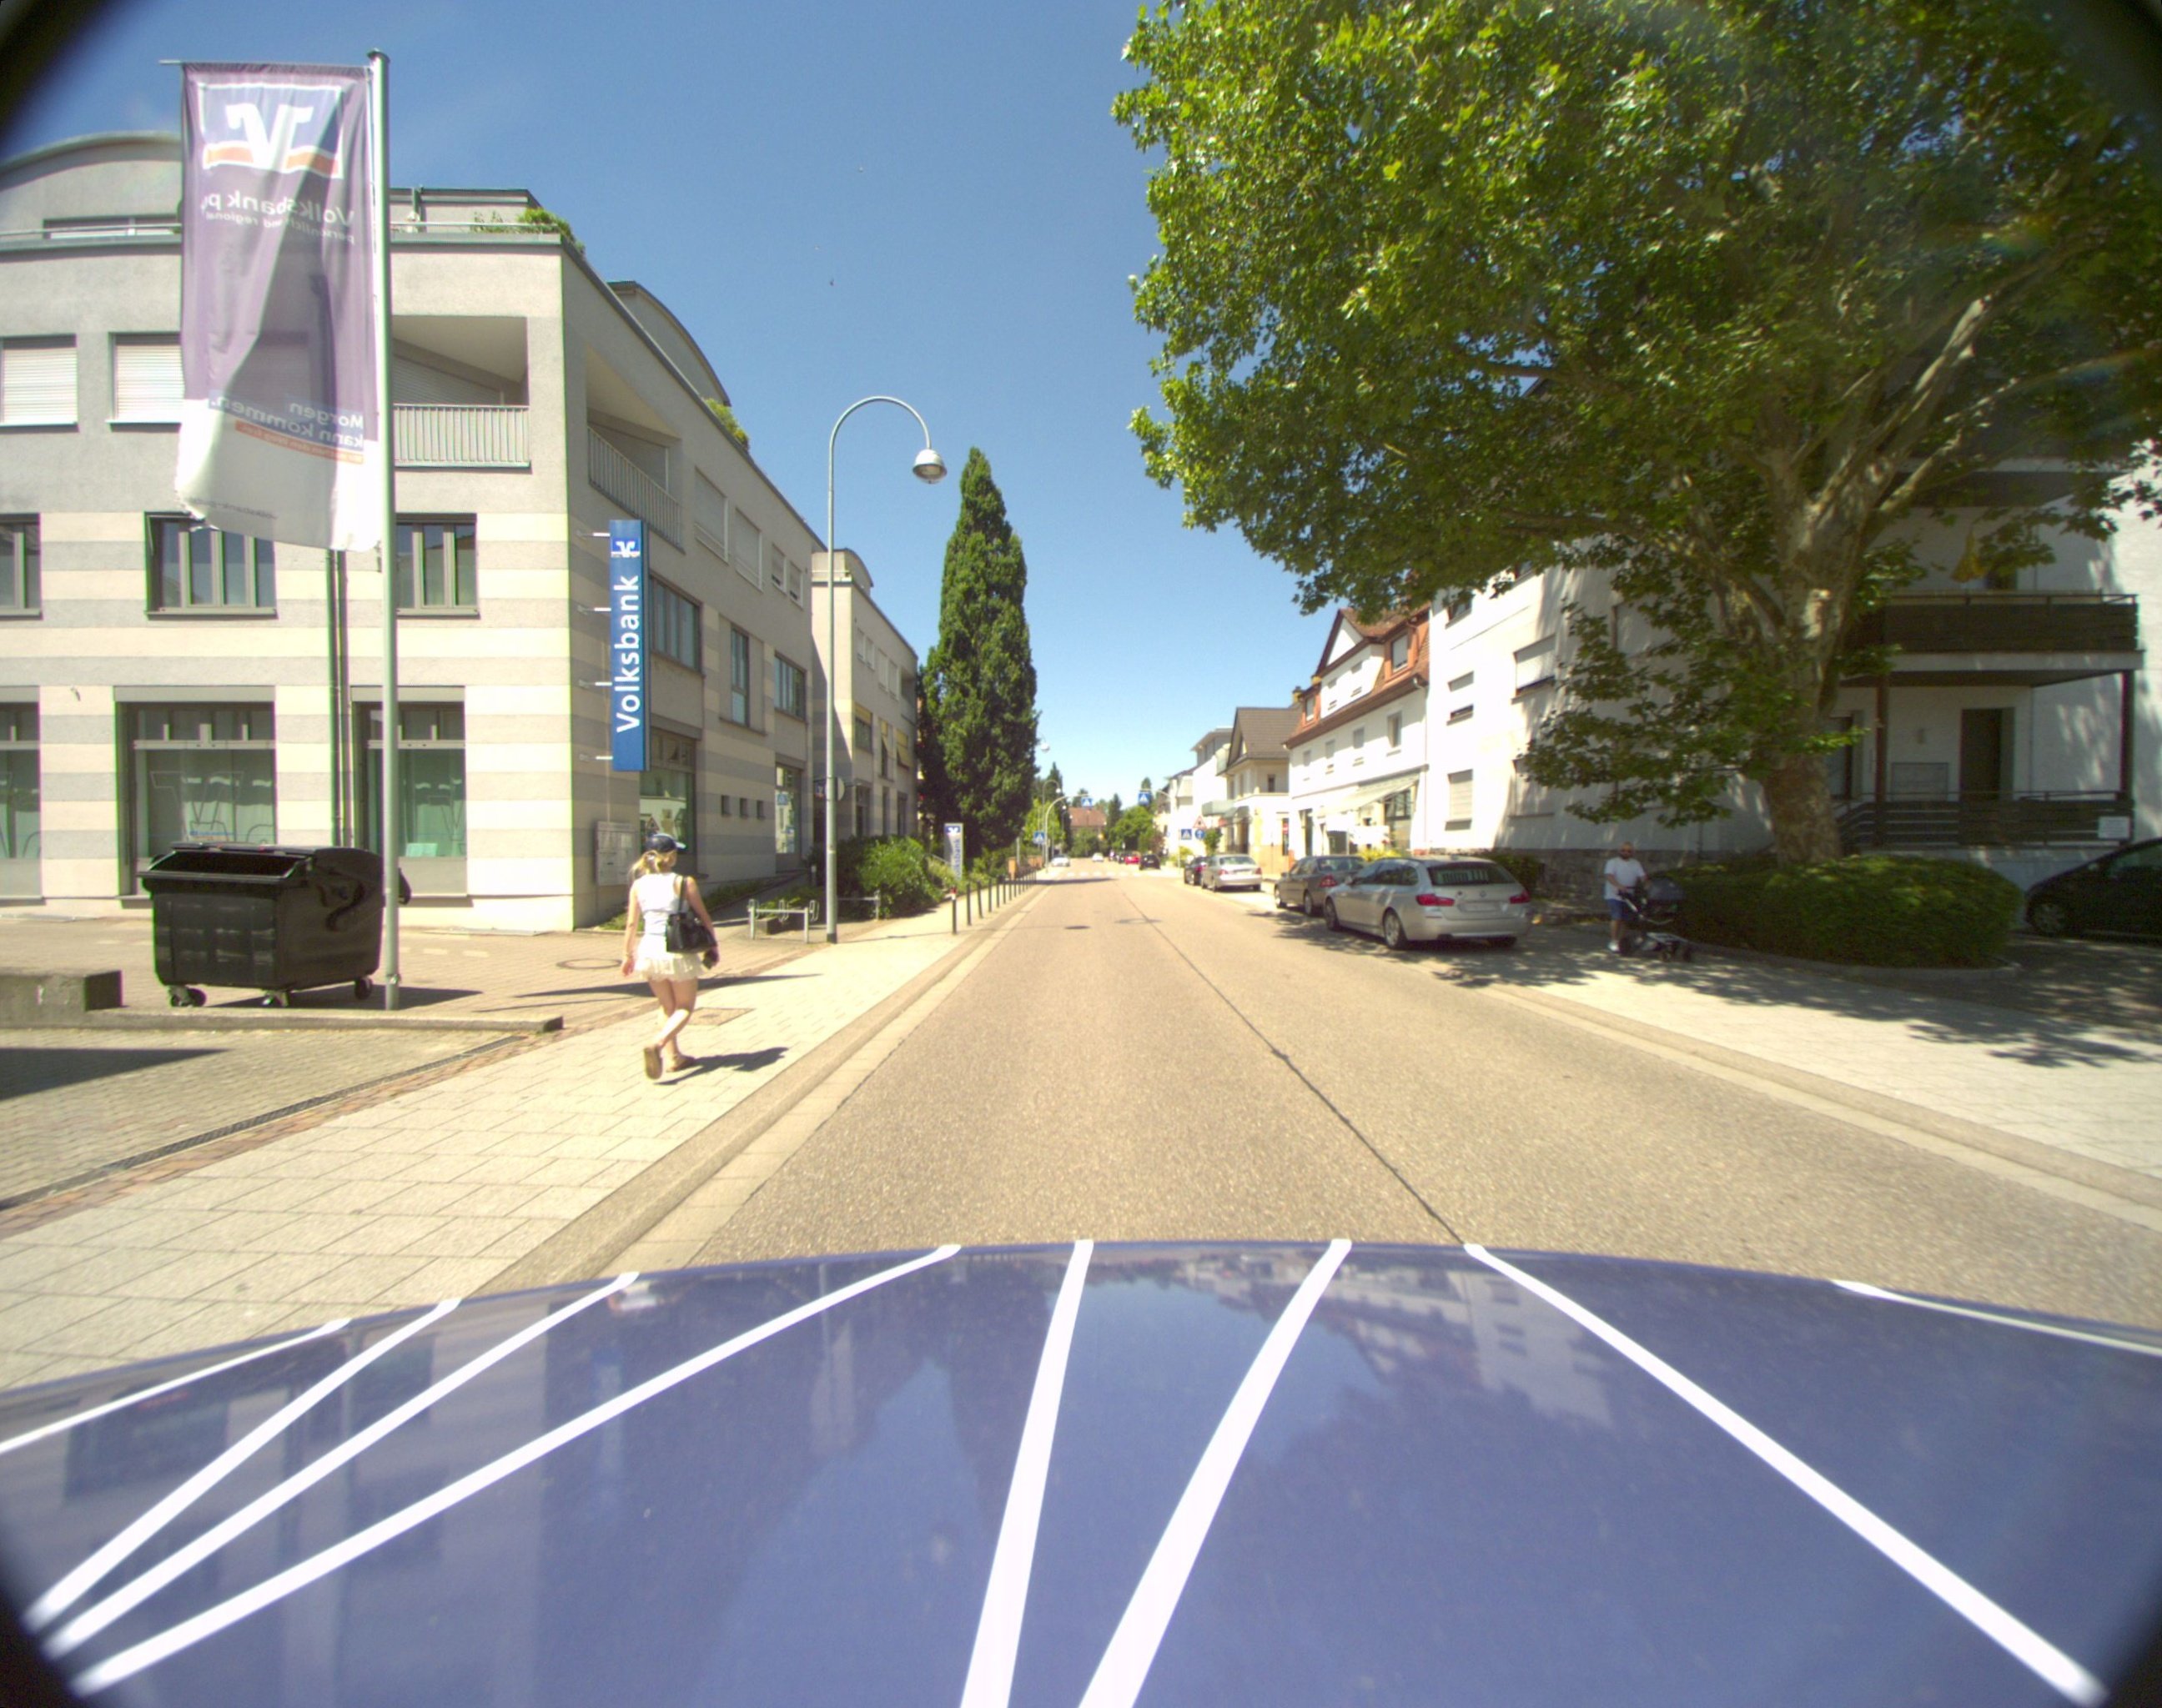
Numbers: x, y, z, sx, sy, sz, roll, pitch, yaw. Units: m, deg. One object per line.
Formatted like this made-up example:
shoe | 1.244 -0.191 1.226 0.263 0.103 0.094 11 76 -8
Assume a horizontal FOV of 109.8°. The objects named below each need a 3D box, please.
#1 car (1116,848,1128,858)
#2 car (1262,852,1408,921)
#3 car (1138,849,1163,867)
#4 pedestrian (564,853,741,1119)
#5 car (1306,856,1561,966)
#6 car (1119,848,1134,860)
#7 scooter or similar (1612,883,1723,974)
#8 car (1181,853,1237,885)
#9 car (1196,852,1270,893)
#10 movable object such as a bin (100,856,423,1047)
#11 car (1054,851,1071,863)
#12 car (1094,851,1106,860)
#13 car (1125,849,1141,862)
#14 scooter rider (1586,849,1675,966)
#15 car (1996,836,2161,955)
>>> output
car | 6.971 -0.192 129.327 1.925 1.681 4.287 -3 1 2
car | 6.140 0.717 19.080 1.986 1.444 4.867 -1 0 0
car | 6.394 0.359 70.604 1.921 1.444 5.149 -3 1 1
pedestrian | -2.833 0.821 5.099 0.702 1.617 0.783 2 1 -1
car | 5.696 0.802 13.189 1.986 1.444 5.150 -1 0 0
car | 6.572 0.004 109.425 1.925 1.577 4.435 -3 1 1
scooter or similar | 7.777 0.962 10.126 0.665 1.092 1.028 -2 0 2
car | 6.107 0.683 36.874 1.947 1.365 5.098 -1 0 1
car | 6.021 0.671 30.805 1.986 1.444 5.357 -1 0 1
movable object such as a bin | -7.195 0.783 6.797 1.371 1.450 1.380 3 1 2
car | -2.181 0.334 90.725 1.920 1.460 4.880 1 1 0
car | 3.254 0.322 131.290 1.812 1.474 3.868 1 1 -1
car | 6.718 0.162 98.129 1.737 1.444 4.260 -3 1 1
scooter rider | 7.790 0.727 10.802 0.590 1.566 0.877 -3 0 2
car | 14.857 0.536 9.778 1.809 1.536 4.109 0 1 13
